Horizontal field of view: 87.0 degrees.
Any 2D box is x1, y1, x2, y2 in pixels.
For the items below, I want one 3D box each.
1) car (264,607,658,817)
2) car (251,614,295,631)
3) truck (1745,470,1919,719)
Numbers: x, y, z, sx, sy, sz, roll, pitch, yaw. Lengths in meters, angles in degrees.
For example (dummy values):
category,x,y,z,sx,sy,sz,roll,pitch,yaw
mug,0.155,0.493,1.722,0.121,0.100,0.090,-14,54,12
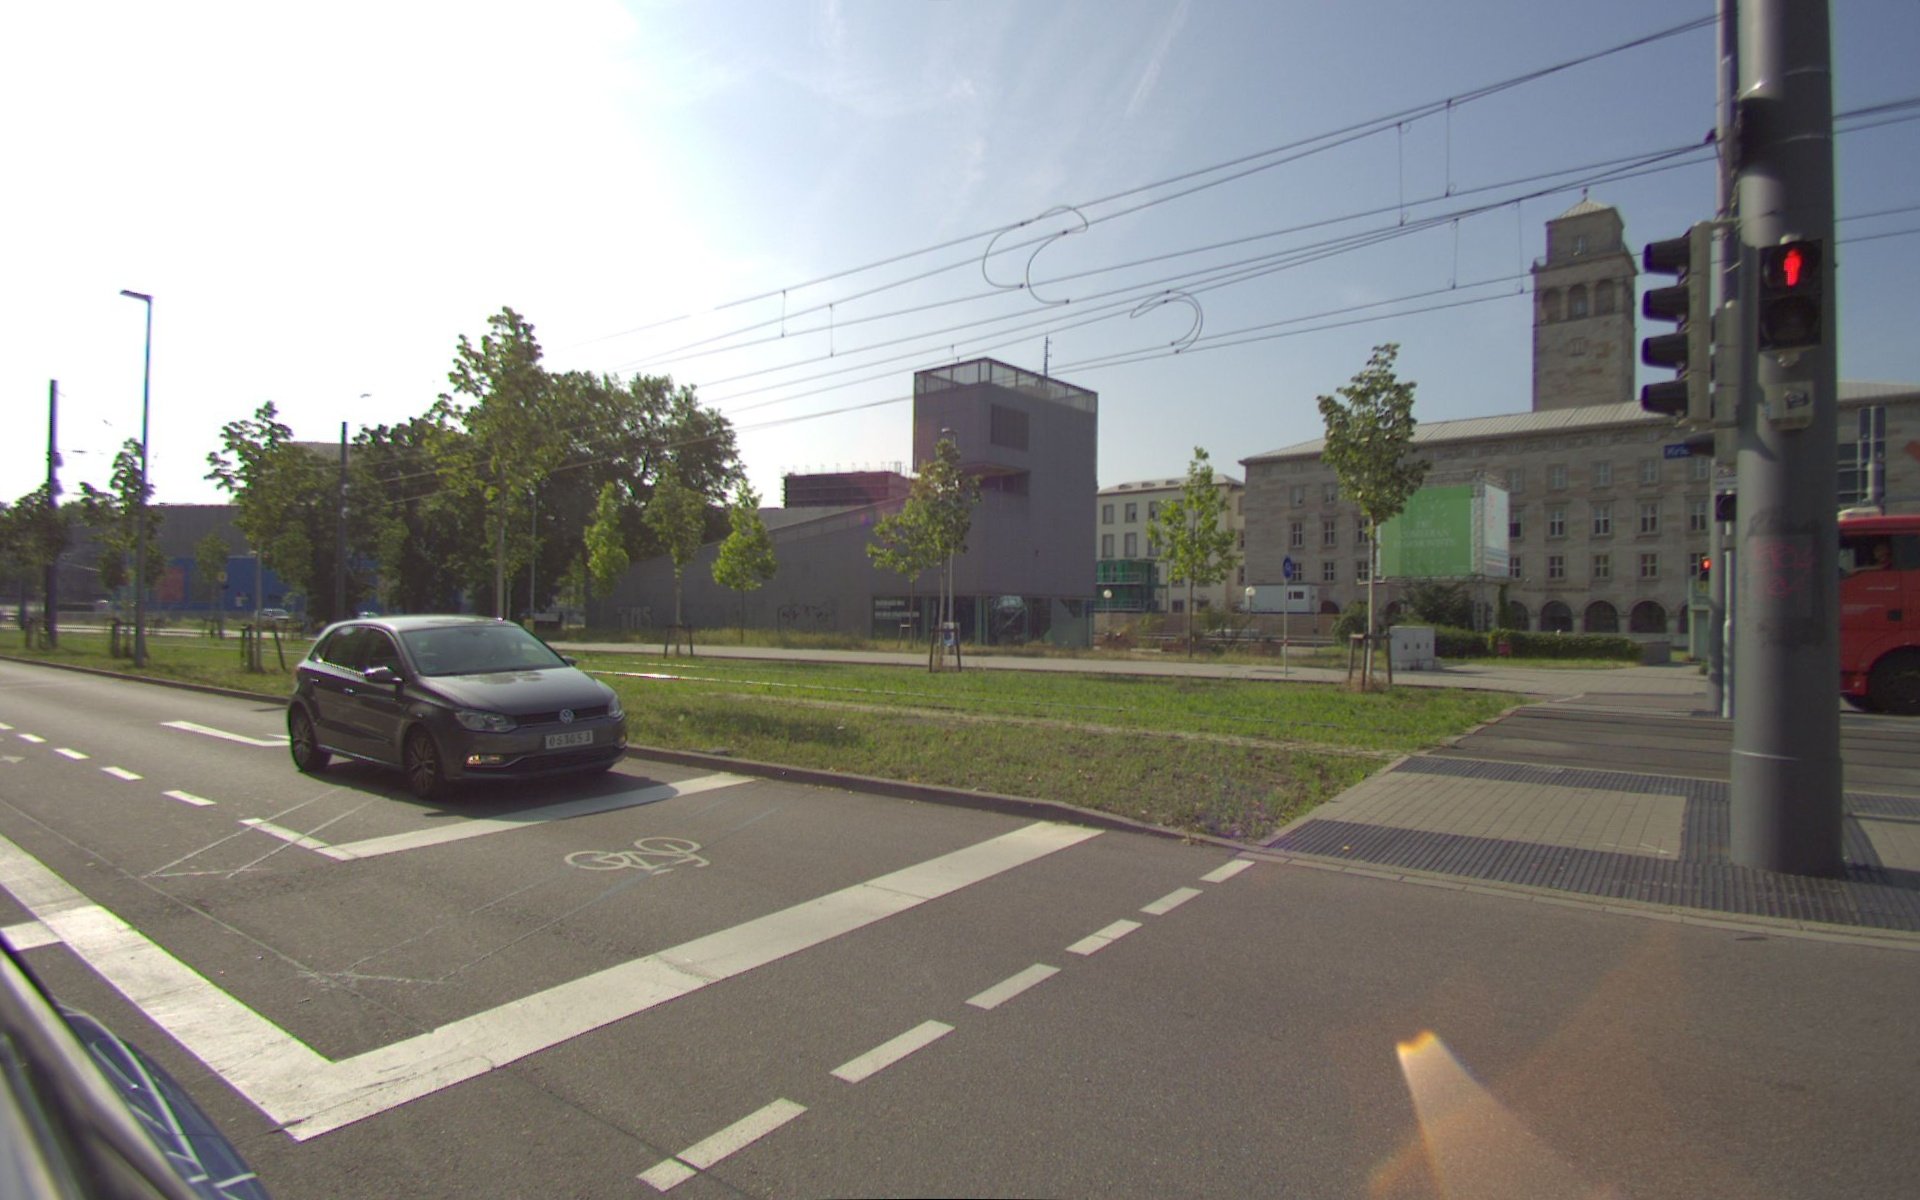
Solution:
category,x,y,z,sx,sy,sz,roll,pitch,yaw
car,-4.582,0.828,9.072,3.865,1.443,1.687,-1,1,39
car,-73.133,2.346,107.677,4.805,1.781,1.999,0,-1,30
truck,18.358,-0.088,14.945,10.393,3.838,2.947,-1,-1,34
